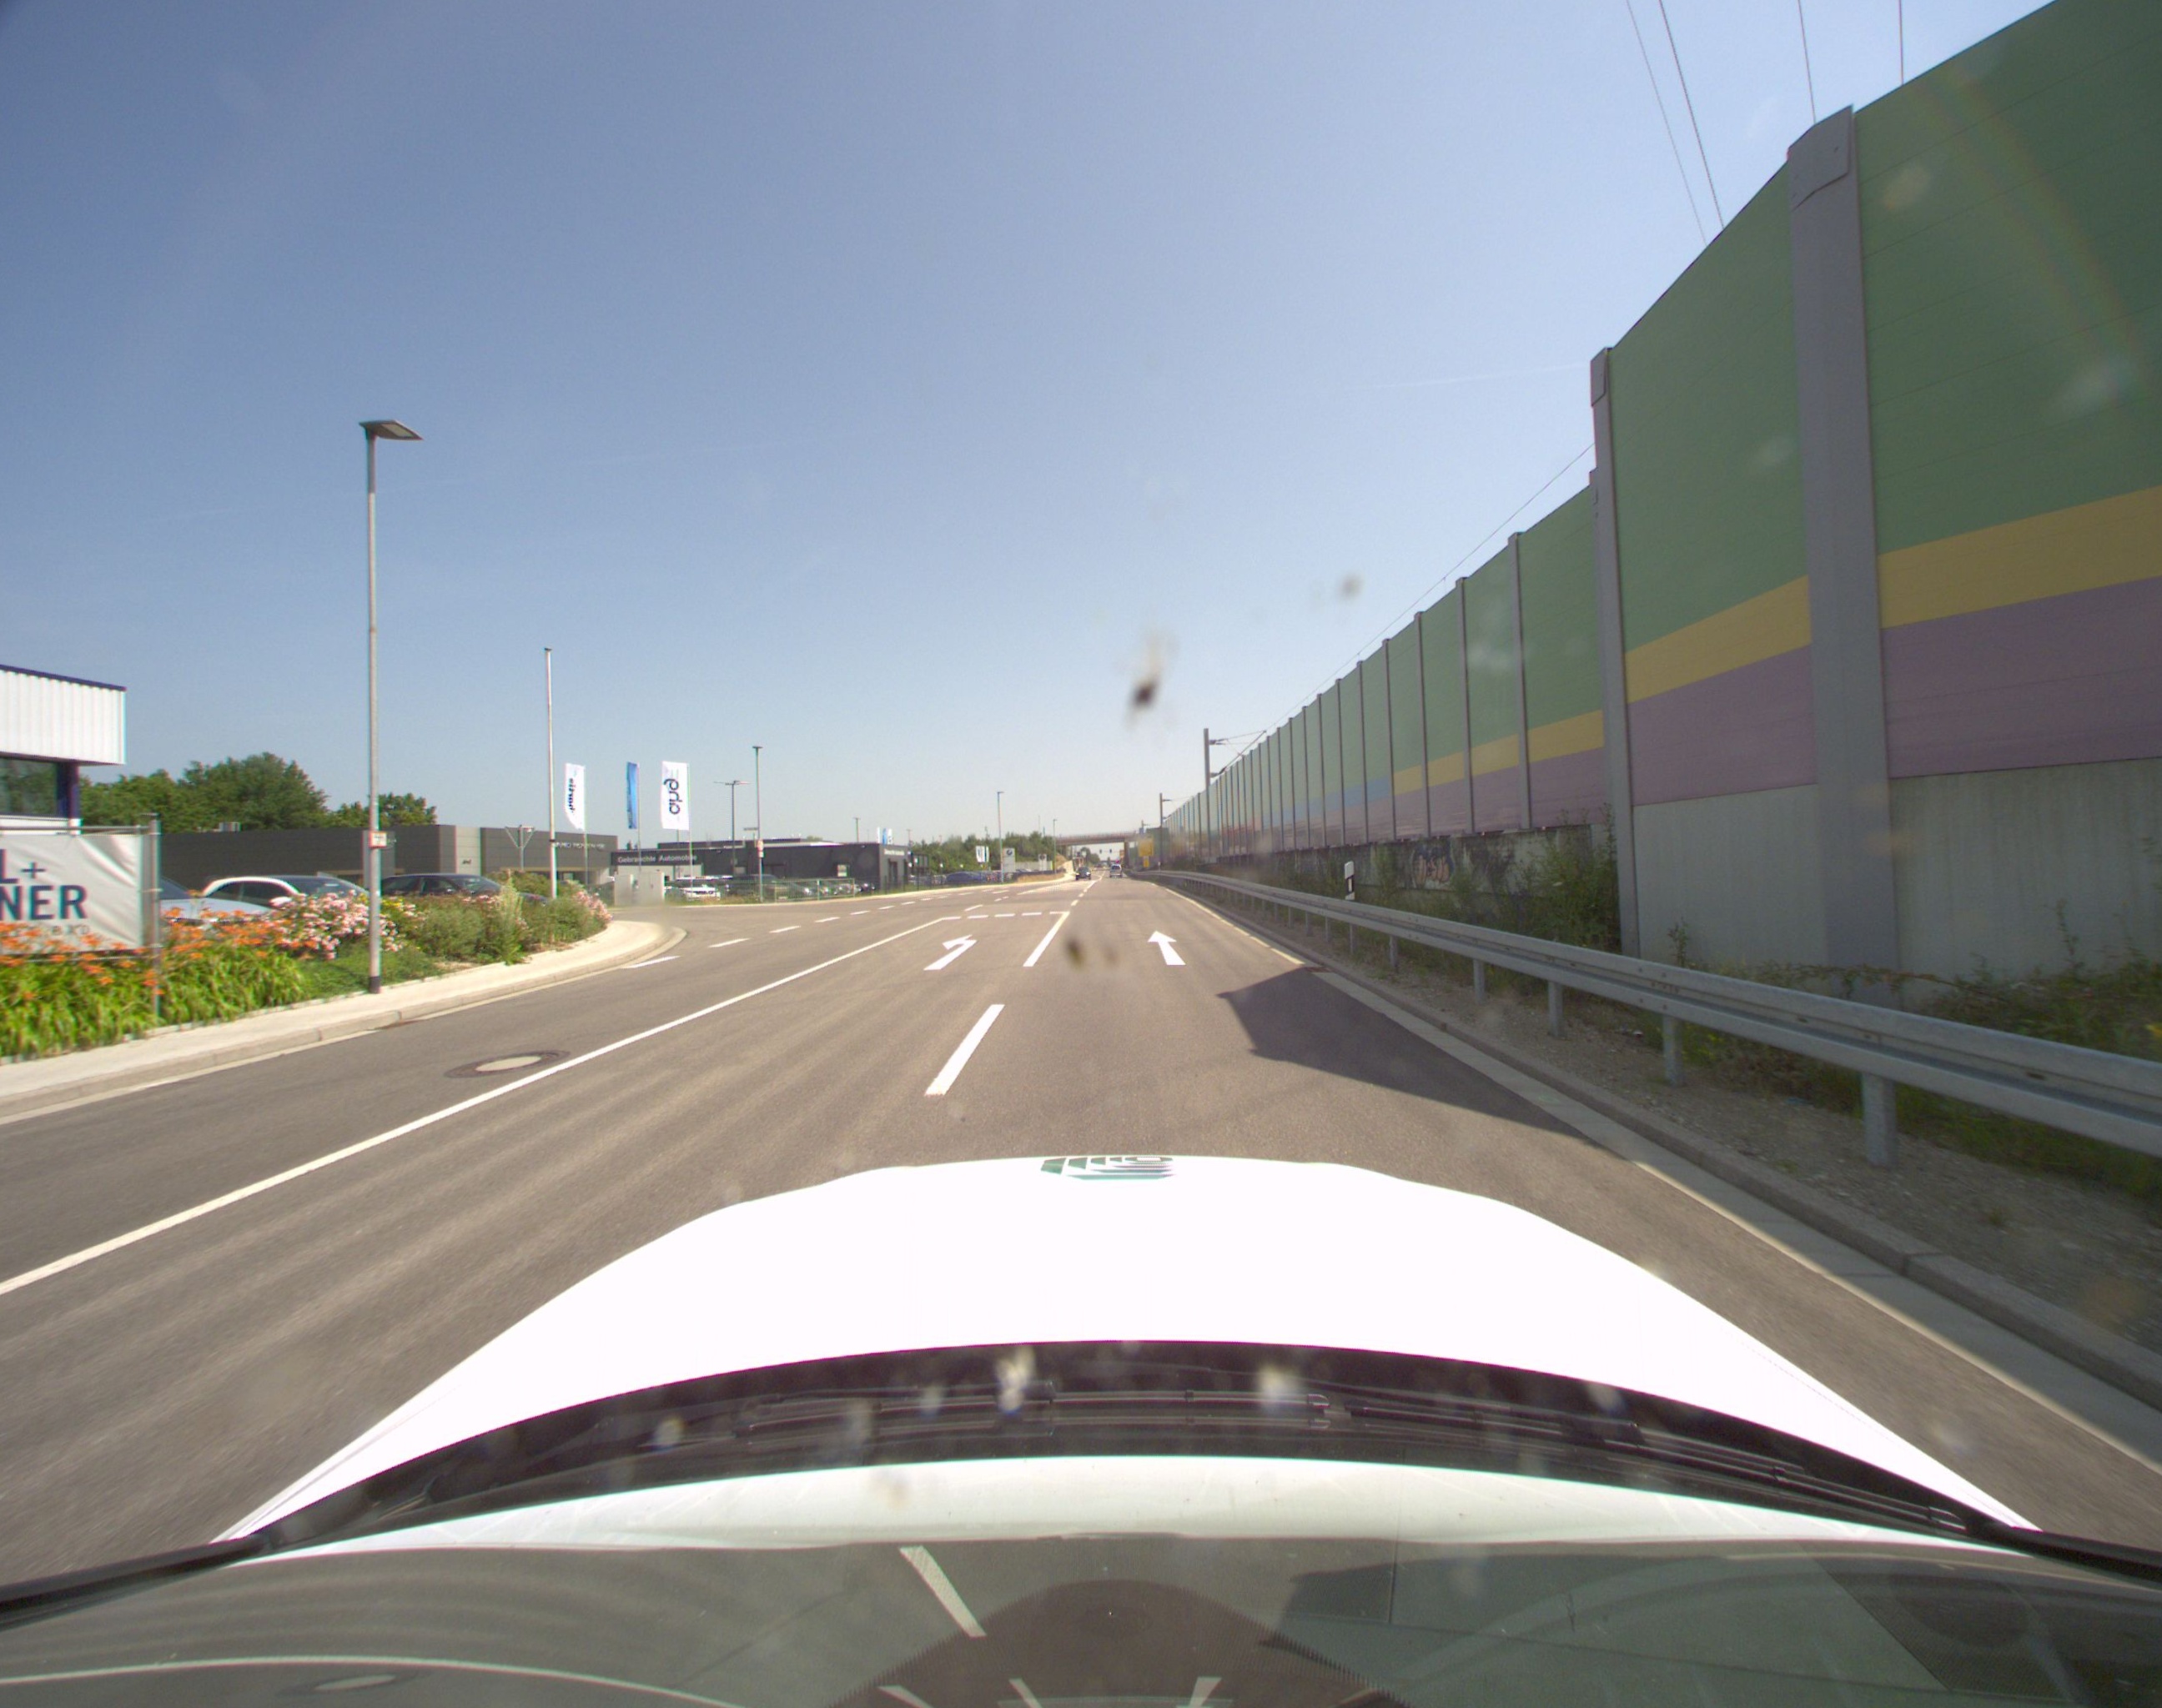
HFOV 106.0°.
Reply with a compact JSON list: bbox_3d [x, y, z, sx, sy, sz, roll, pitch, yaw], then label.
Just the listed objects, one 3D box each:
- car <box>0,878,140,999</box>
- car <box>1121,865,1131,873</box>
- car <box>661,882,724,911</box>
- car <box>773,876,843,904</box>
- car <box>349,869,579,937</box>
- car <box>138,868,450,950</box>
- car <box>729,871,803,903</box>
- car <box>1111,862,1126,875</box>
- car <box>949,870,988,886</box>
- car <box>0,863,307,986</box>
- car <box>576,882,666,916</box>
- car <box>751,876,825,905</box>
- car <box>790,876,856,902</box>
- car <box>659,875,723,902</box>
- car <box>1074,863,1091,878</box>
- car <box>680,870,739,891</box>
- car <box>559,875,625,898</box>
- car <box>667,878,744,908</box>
[{"bbox_3d":[-14.955,1.116,10.085,3.981,1.414,1.996,-3,0,-6],"label":"car"},{"bbox_3d":[8.740,2.825,156.946,1.773,1.416,4.053,-3,-1,4],"label":"car"},{"bbox_3d":[-22.938,2.510,48.005,4.452,1.562,1.938,-3,-2,45],"label":"car"},{"bbox_3d":[-18.309,2.410,54.787,3.974,1.632,1.977,-3,0,0],"label":"car"},{"bbox_3d":[-15.219,1.175,20.283,4.213,1.394,1.832,-3,0,-2],"label":"car"},{"bbox_3d":[-15.338,1.033,16.065,4.213,1.314,1.832,-3,0,-2],"label":"car"},{"bbox_3d":[-18.800,1.983,48.553,4.619,1.865,2.079,-3,-3,39],"label":"car"},{"bbox_3d":[5.241,2.049,114.739,1.985,1.757,4.004,-2,-1,4],"label":"car"},{"bbox_3d":[-12.366,2.659,89.562,3.974,1.480,1.911,-3,0,0],"label":"car"},{"bbox_3d":[-15.213,1.073,12.776,4.213,1.648,1.832,-3,0,-2],"label":"car"},{"bbox_3d":[-26.393,2.564,46.861,3.974,1.665,1.977,-3,0,0],"label":"car"},{"bbox_3d":[-18.665,2.315,51.980,3.974,1.632,1.886,-3,0,0],"label":"car"},{"bbox_3d":[-18.200,2.465,57.612,3.974,1.632,1.977,-3,0,0],"label":"car"},{"bbox_3d":[-29.088,2.584,60.819,3.825,1.828,1.686,-2,0,0],"label":"car"},{"bbox_3d":[0.157,2.061,101.590,1.870,1.673,4.293,-2,0,2],"label":"car"},{"bbox_3d":[-29.103,2.087,63.851,3.825,1.421,1.686,-2,0,0],"label":"car"},{"bbox_3d":[-34.862,2.307,58.112,3.672,1.421,1.686,-2,0,0],"label":"car"},{"bbox_3d":[-24.107,2.485,52.370,3.974,1.665,1.977,-3,0,0],"label":"car"}]
